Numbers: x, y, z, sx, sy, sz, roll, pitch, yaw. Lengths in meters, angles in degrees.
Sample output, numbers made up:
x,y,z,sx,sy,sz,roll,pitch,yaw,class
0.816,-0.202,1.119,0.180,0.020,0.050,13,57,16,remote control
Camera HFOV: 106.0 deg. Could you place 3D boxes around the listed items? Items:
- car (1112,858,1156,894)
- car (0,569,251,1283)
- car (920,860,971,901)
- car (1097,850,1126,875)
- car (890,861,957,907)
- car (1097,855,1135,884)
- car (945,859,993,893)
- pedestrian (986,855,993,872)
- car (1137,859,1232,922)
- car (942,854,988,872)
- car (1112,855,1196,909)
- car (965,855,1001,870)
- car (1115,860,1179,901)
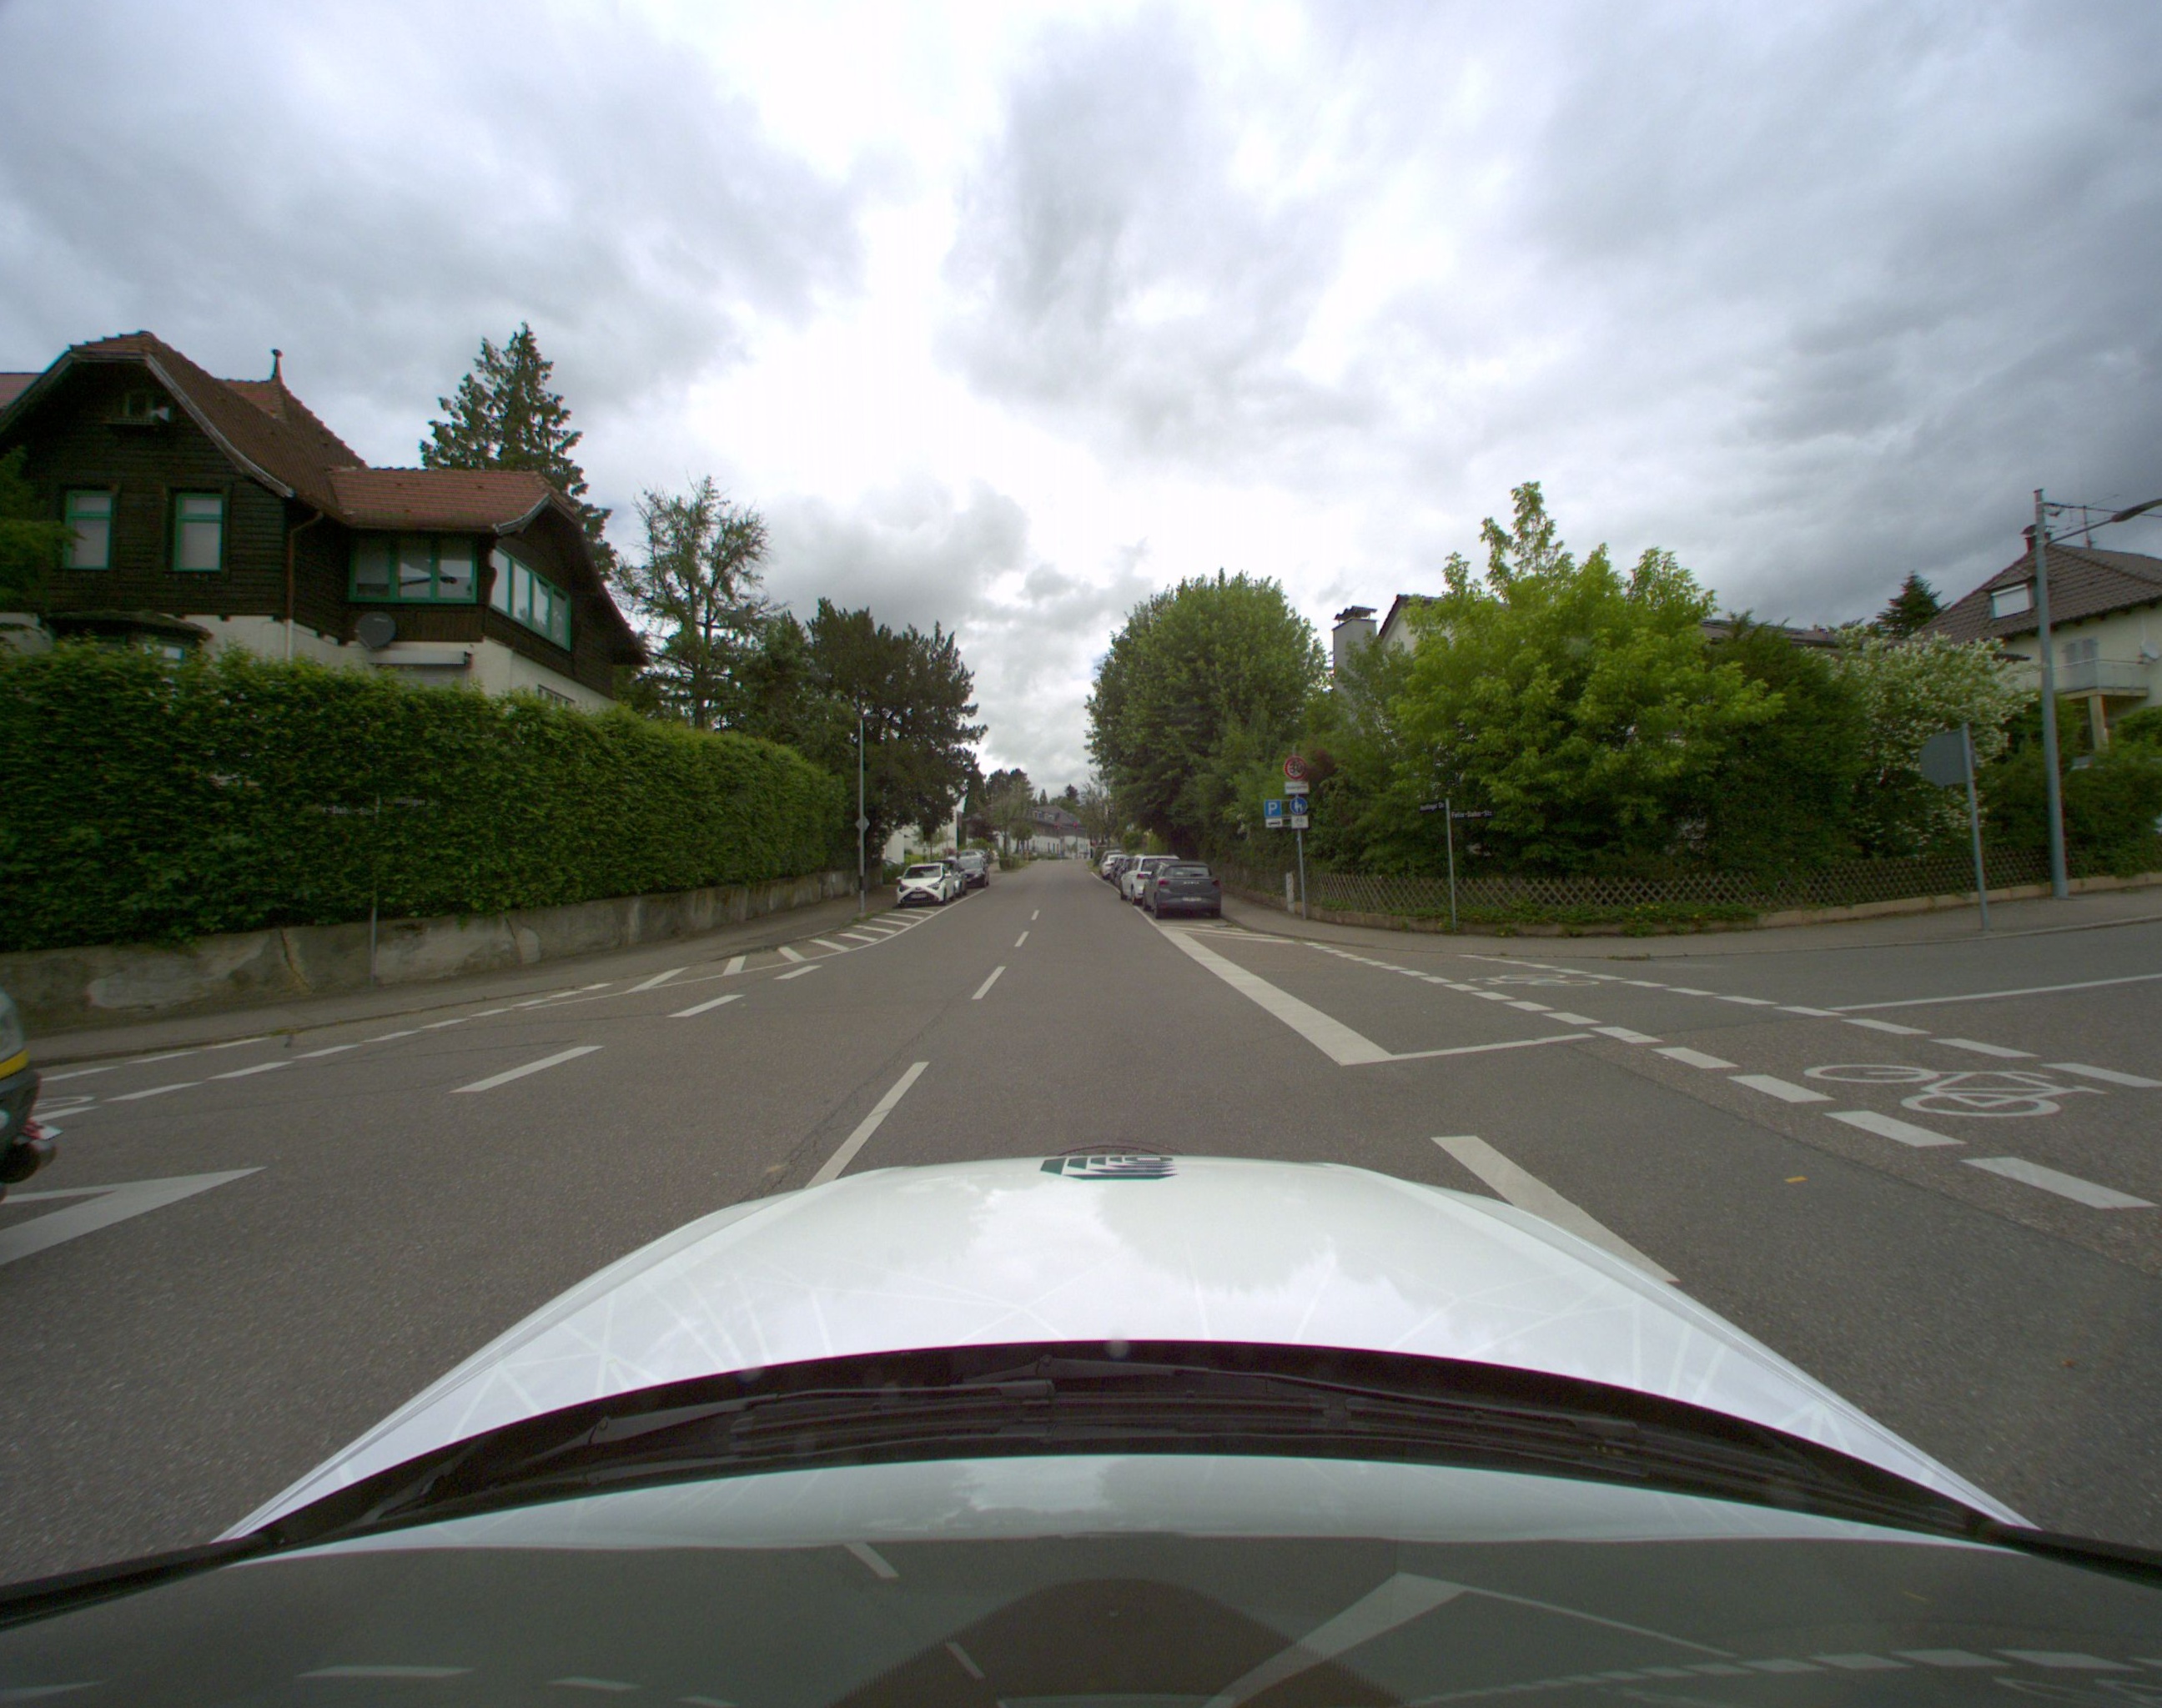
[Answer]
x,y,z,sx,sy,sz,roll,pitch,yaw,class
2.385,0.972,37.675,1.692,1.508,4.158,1,0,-1,car
-6.900,0.358,2.160,6.134,2.601,2.356,-2,0,-15,car
-5.416,1.041,32.771,1.620,1.519,2.973,-1,0,-2,car
2.002,0.568,54.480,1.712,1.632,3.927,0,0,-1,car
-5.455,1.000,28.585,1.740,1.448,3.511,-2,0,-2,car
2.048,0.873,48.444,1.987,1.491,5.003,-2,0,0,car
-5.520,1.060,40.647,1.846,1.469,4.679,-2,0,-2,car
-9.059,0.912,80.815,0.591,1.640,0.565,-2,0,0,pedestrian
2.800,0.944,23.098,1.933,1.491,4.453,-2,0,-2,car
-11.652,0.889,81.936,4.376,1.566,2.064,-2,0,-3,car
2.406,0.867,28.030,1.998,1.608,4.749,-2,0,-6,car
-12.114,1.033,100.760,4.252,1.623,2.011,-2,-1,-4,car
2.553,0.992,32.705,1.807,1.452,4.370,-2,0,-5,car
